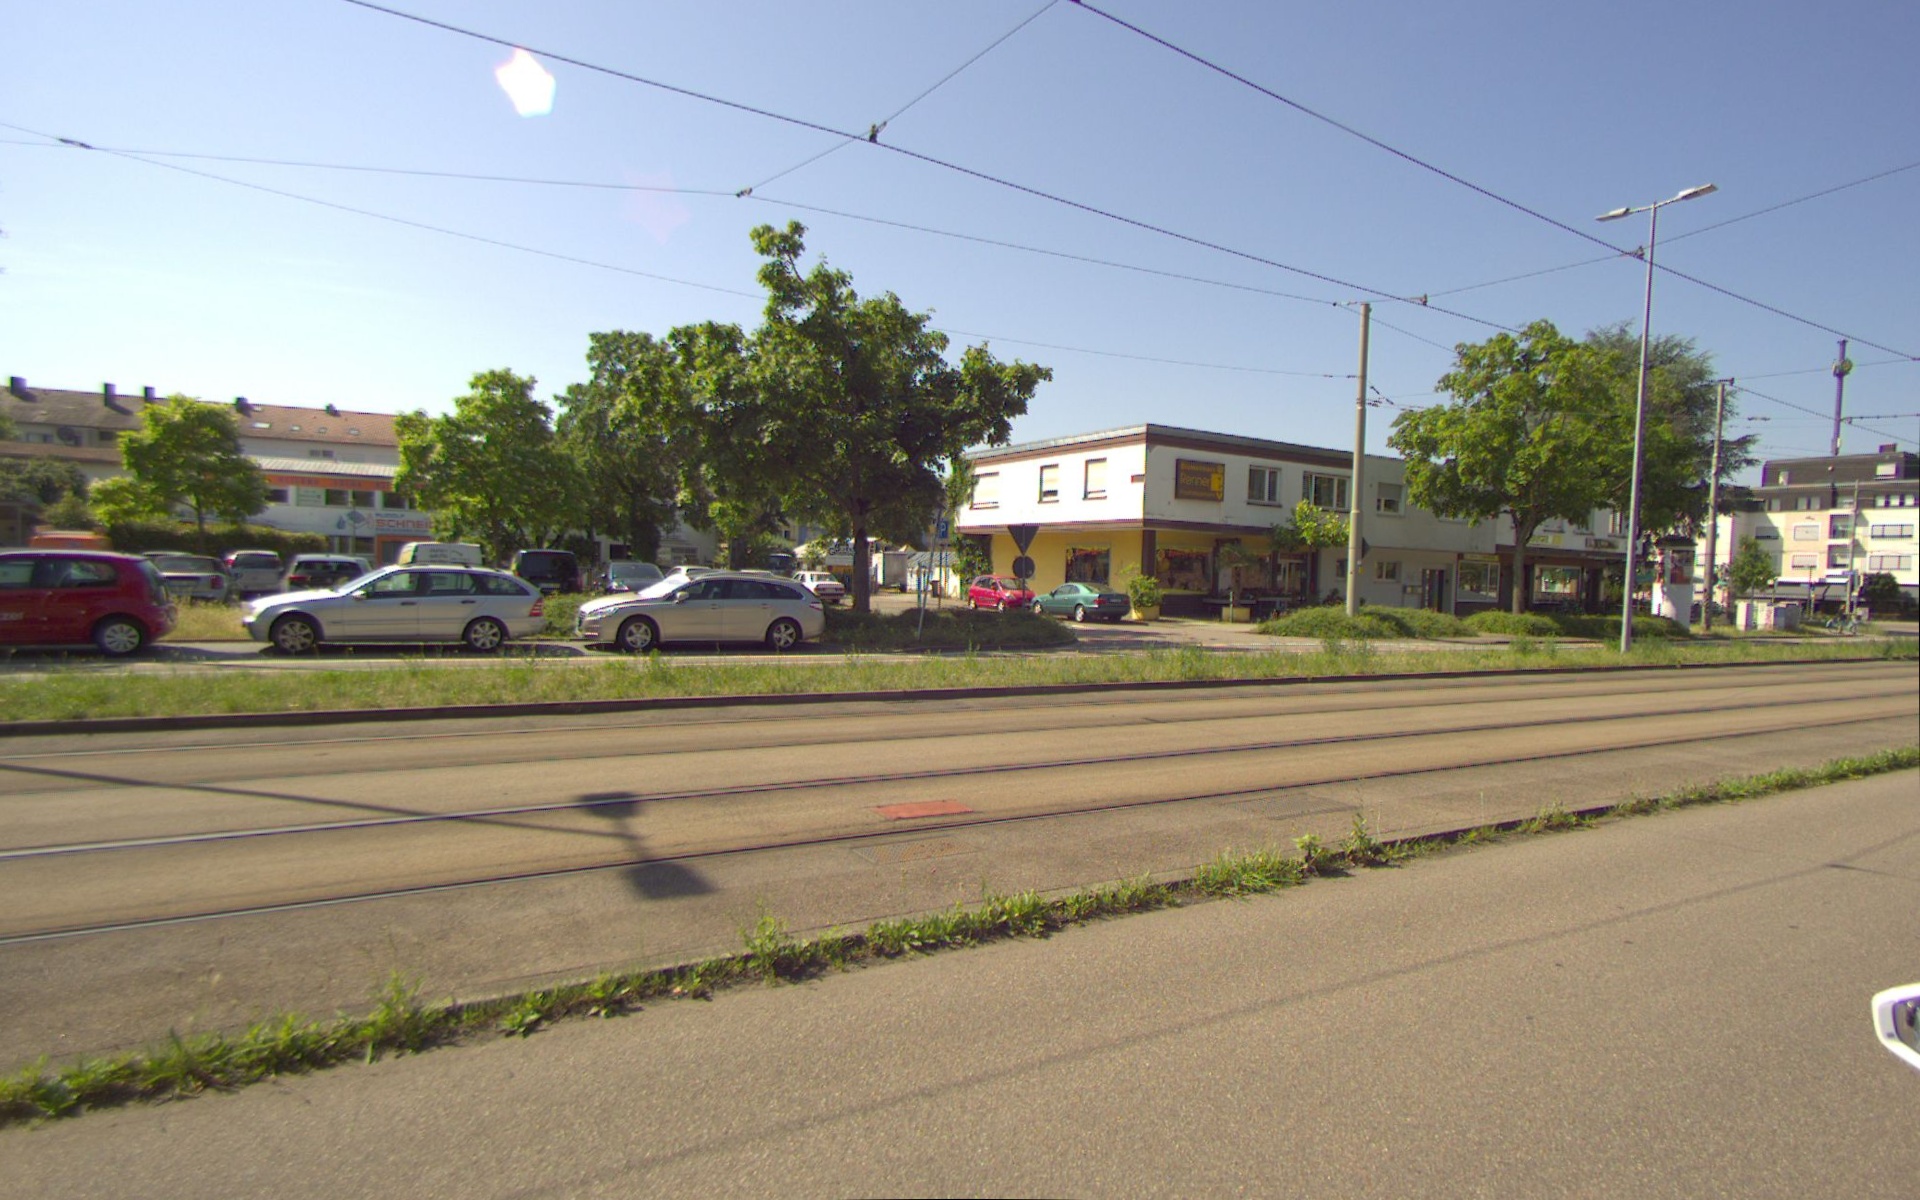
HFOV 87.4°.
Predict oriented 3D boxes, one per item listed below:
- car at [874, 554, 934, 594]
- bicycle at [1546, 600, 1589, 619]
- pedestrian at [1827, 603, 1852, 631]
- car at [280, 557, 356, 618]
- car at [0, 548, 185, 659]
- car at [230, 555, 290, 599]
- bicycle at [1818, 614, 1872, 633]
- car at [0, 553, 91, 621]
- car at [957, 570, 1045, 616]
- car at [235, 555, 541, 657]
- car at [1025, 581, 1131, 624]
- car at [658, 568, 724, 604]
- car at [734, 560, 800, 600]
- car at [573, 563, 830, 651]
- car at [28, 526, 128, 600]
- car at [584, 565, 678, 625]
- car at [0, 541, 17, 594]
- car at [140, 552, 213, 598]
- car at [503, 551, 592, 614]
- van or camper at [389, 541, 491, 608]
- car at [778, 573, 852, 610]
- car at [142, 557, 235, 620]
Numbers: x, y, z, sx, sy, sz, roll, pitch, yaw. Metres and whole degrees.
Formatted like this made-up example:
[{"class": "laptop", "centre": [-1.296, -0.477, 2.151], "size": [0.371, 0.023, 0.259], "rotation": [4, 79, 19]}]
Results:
[{"class": "car", "centre": [-3.434, -1.604, 61.810], "size": [3.373, 2.307, 1.476], "rotation": [1, 2, -21]}, {"class": "bicycle", "centre": [30.380, 0.492, 50.233], "size": [2.363, 0.900, 0.779], "rotation": [1, 1, -30]}, {"class": "pedestrian", "centre": [48.113, 0.927, 54.942], "size": [0.799, 1.507, 0.566], "rotation": [2, 1, 13]}, {"class": "car", "centre": [-15.887, -0.348, 24.820], "size": [1.473, 1.389, 3.962], "rotation": [1, 2, -34]}, {"class": "car", "centre": [-13.426, 0.029, 14.311], "size": [3.636, 1.510, 1.284], "rotation": [1, 2, -33]}, {"class": "car", "centre": [-24.393, -0.814, 35.082], "size": [1.515, 1.444, 3.824], "rotation": [1, 1, -32]}, {"class": "bicycle", "centre": [47.920, 1.243, 54.409], "size": [2.133, 0.934, 0.553], "rotation": [2, 1, 13]}, {"class": "car", "centre": [-20.899, -0.317, 22.459], "size": [1.642, 1.389, 3.964], "rotation": [1, 1, -32]}, {"class": "car", "centre": [1.613, -0.324, 41.059], "size": [1.677, 1.759, 4.128], "rotation": [1, 2, -29]}, {"class": "car", "centre": [-9.437, 0.085, 16.859], "size": [4.300, 1.510, 1.285], "rotation": [1, 4, -31]}, {"class": "car", "centre": [4.192, 0.058, 36.236], "size": [1.677, 1.363, 4.128], "rotation": [1, 2, -29]}, {"class": "car", "centre": [-11.648, -0.613, 43.331], "size": [1.657, 1.444, 3.950], "rotation": [1, 1, -32]}, {"class": "car", "centre": [-11.241, -1.187, 58.191], "size": [2.078, 2.203, 4.900], "rotation": [1, 1, -33]}, {"class": "car", "centre": [-4.959, 0.125, 19.480], "size": [4.561, 1.510, 1.597], "rotation": [1, 4, -29]}, {"class": "car", "centre": [-28.501, -1.188, 32.582], "size": [1.891, 2.229, 3.963], "rotation": [0, 2, -33]}, {"class": "car", "centre": [-9.482, -0.165, 28.793], "size": [1.645, 1.584, 3.965], "rotation": [1, 1, -32]}, {"class": "car", "centre": [-30.940, -1.033, 31.205], "size": [1.727, 1.675, 3.963], "rotation": [0, 2, -33]}, {"class": "car", "centre": [-26.373, -0.846, 33.888], "size": [1.515, 1.444, 3.824], "rotation": [1, 1, -32]}, {"class": "car", "centre": [-11.450, -0.486, 27.762], "size": [1.645, 1.584, 3.965], "rotation": [1, 1, -32]}, {"class": "van or camper", "centre": [-13.671, -0.659, 26.297], "size": [1.858, 1.584, 3.960], "rotation": [1, 1, -35]}, {"class": "car", "centre": [-6.568, -0.419, 45.261], "size": [1.889, 1.554, 3.965], "rotation": [1, 1, -31]}, {"class": "car", "centre": [-18.512, -0.296, 24.236], "size": [1.473, 1.389, 3.962], "rotation": [1, 1, -33]}]
